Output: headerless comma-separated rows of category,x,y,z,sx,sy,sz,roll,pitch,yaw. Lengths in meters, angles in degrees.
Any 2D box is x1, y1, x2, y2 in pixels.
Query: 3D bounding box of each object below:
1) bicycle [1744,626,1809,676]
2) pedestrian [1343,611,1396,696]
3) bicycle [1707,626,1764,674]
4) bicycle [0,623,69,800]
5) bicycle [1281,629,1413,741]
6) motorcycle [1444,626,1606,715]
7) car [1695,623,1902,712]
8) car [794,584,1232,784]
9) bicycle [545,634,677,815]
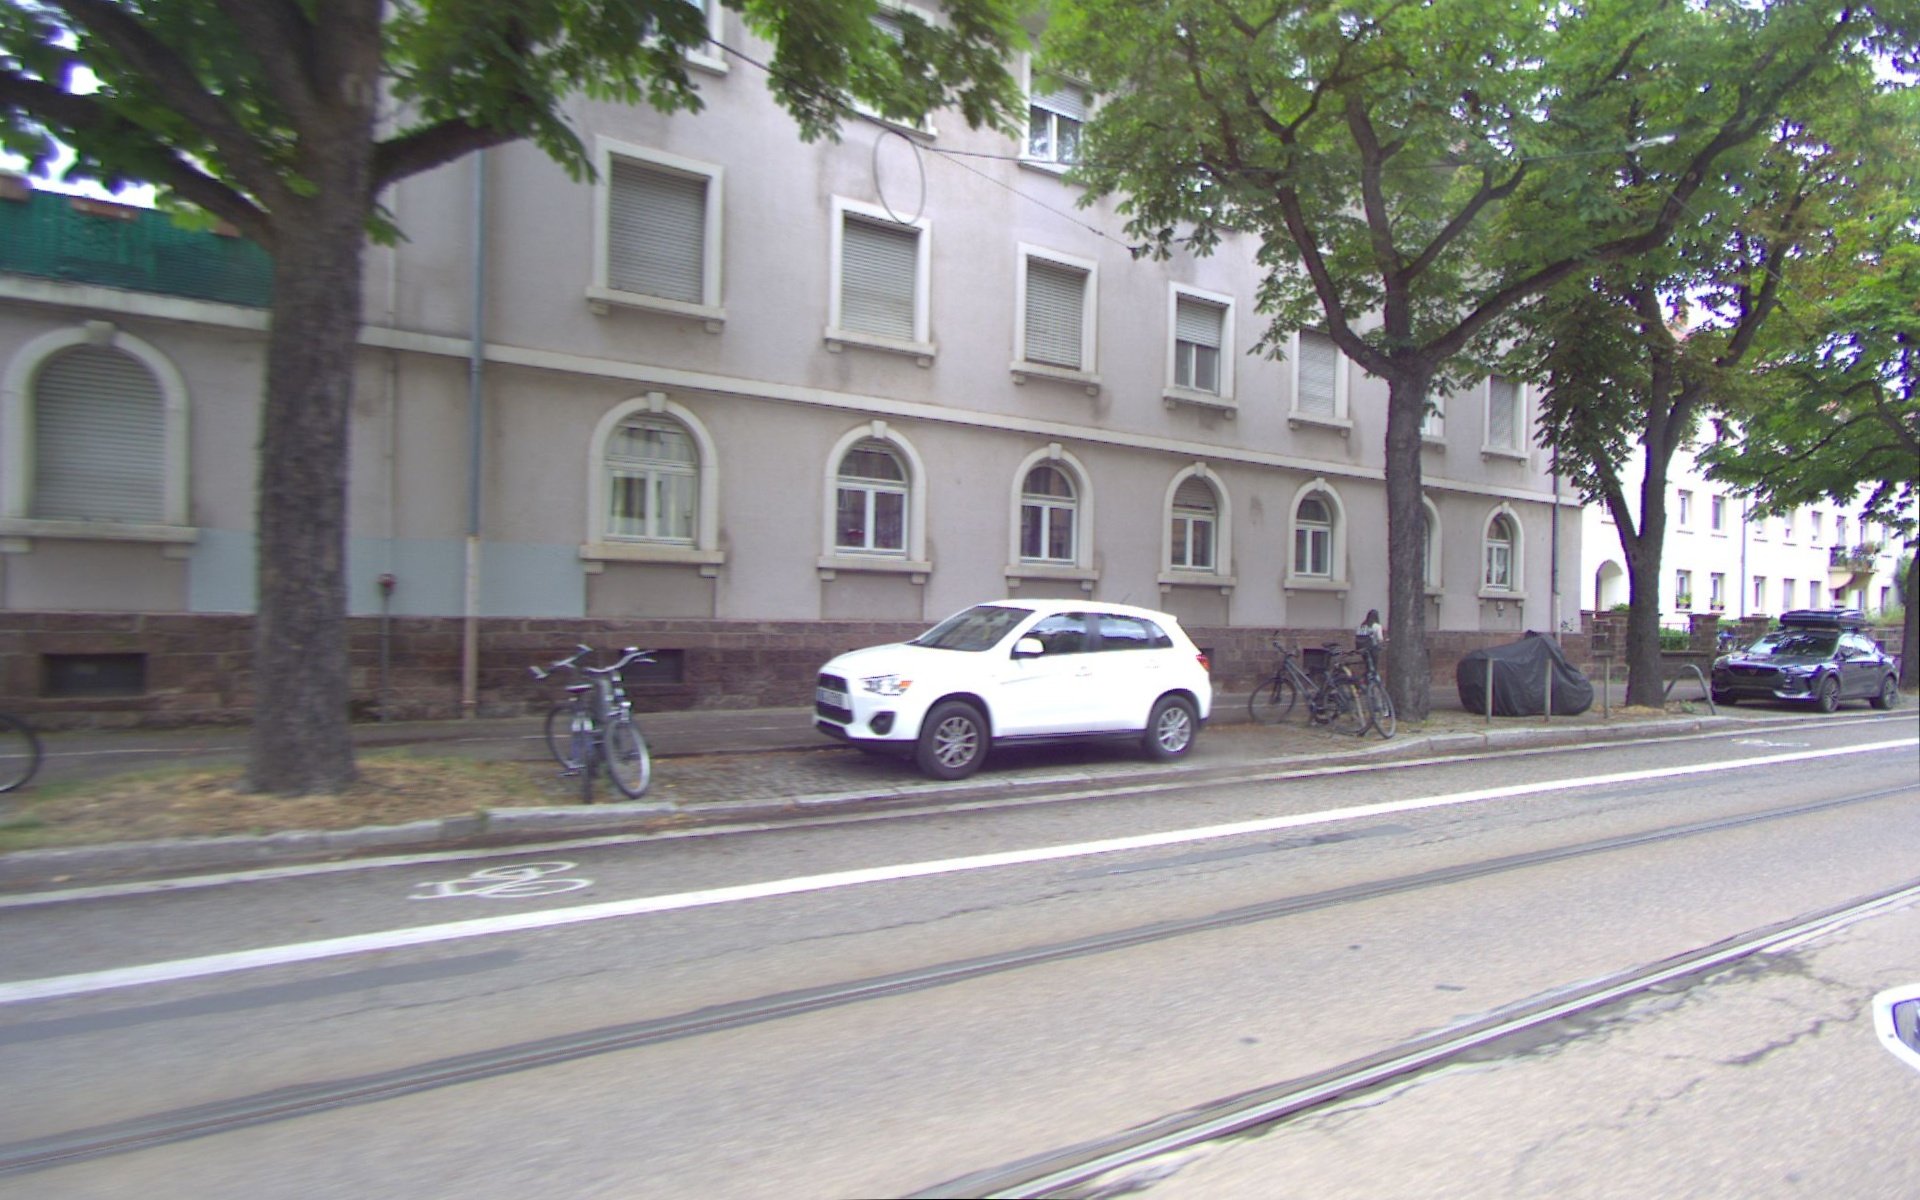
bicycle,23.857,1.488,29.351,2.116,1.400,0.789,1,0,-31
pedestrian,7.367,0.946,18.068,0.714,1.487,0.562,1,0,-30
bicycle,23.330,1.492,30.201,2.116,1.400,0.624,1,0,-31
bicycle,-6.977,0.741,6.376,0.667,1.151,1.925,0,0,43
bicycle,4.934,1.045,12.924,0.642,1.209,1.743,-4,3,-15
motorcycle,8.860,1.097,15.766,2.285,1.305,0.863,2,0,-17
car,16.549,1.277,19.789,4.187,1.531,1.769,1,0,-30
car,0.610,0.738,10.337,4.178,1.677,1.887,1,0,-32
bicycle,-2.804,0.900,7.931,0.616,1.136,1.913,1,1,-30
